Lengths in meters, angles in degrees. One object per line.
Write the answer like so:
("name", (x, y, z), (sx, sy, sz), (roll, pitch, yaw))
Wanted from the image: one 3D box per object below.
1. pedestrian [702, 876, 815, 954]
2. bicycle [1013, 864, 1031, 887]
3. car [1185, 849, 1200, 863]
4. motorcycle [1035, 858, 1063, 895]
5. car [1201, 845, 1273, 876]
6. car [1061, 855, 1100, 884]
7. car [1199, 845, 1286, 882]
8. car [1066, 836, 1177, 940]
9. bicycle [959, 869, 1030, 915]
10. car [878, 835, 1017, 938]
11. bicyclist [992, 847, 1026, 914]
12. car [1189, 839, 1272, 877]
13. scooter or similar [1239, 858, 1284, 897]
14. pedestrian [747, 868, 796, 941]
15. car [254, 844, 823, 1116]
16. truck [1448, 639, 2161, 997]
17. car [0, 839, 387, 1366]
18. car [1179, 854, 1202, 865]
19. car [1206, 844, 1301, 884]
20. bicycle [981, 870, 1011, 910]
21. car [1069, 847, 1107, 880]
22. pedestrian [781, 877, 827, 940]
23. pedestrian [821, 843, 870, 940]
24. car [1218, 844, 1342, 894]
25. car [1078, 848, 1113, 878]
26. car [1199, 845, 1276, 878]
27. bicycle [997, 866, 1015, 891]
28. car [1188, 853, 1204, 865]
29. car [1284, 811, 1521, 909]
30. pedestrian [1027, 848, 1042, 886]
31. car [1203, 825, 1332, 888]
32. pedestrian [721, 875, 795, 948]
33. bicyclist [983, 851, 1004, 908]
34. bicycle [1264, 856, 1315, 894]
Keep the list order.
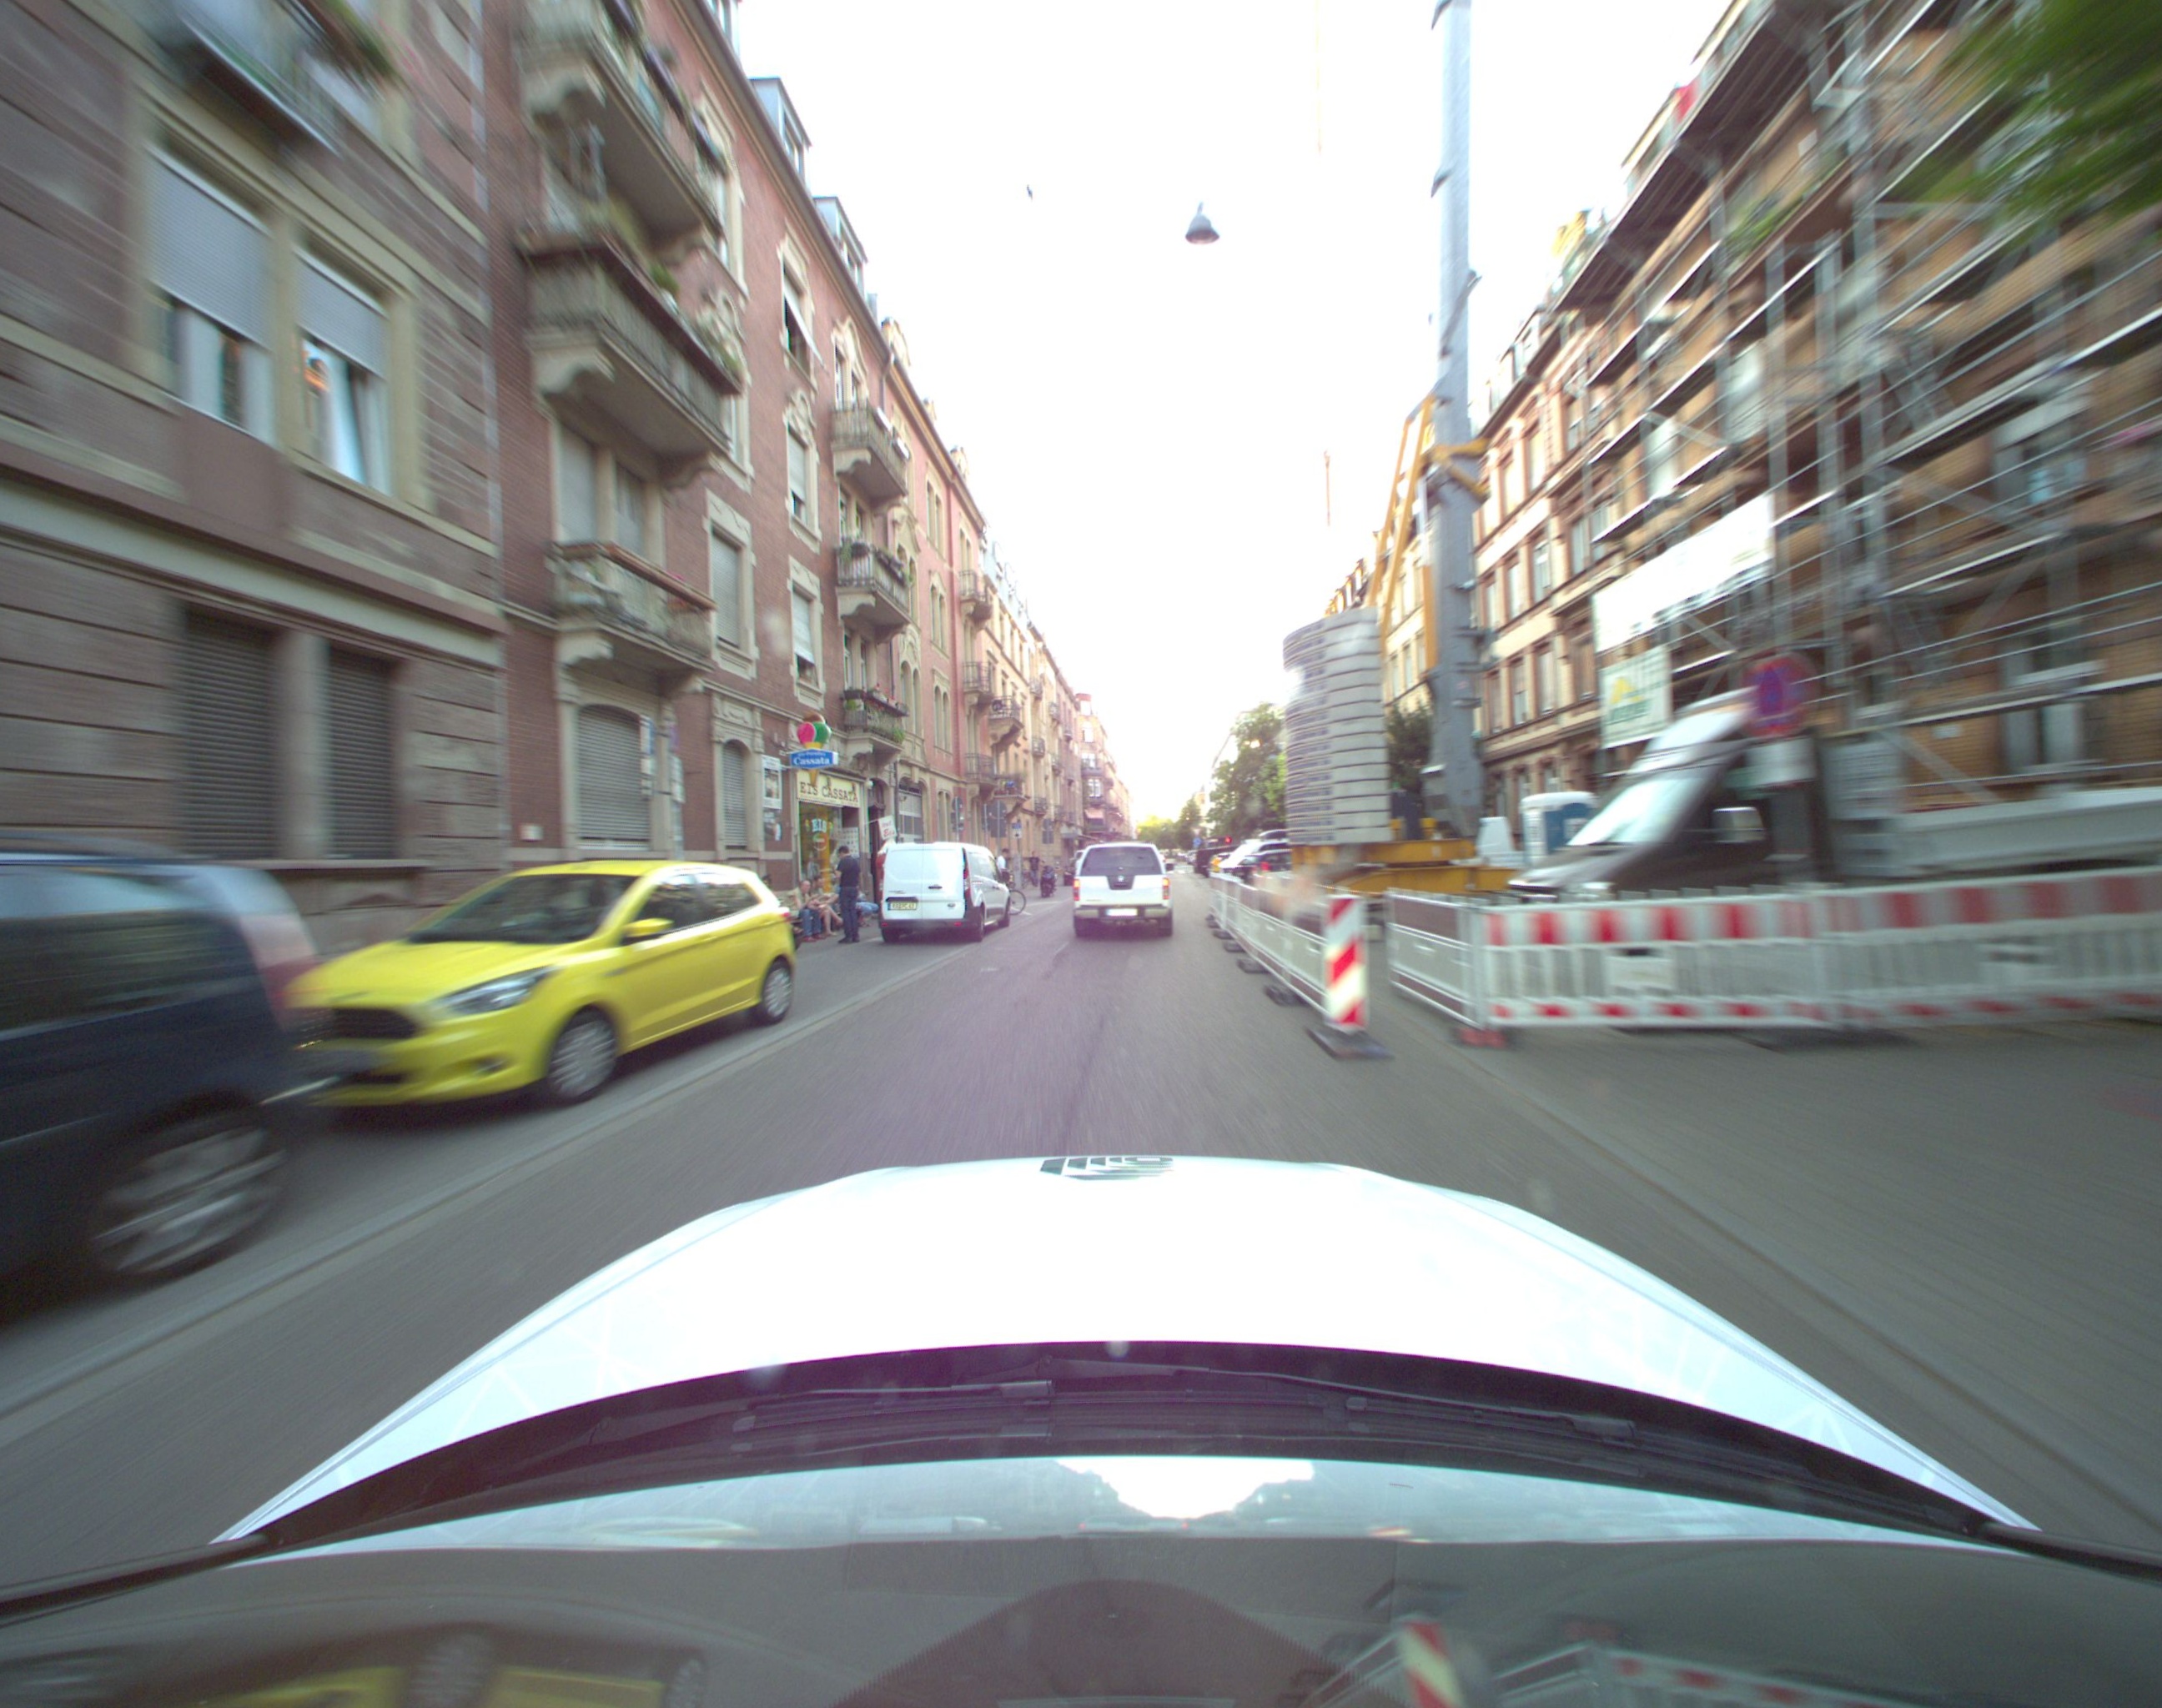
("pedestrian", (-5.196, 0.969, 13.175), (1.555, 1.203, 0.642), (-1, -1, 3))
("bicycle", (-2.955, 1.062, 40.700), (0.747, 1.101, 2.024), (-1, -1, -1))
("car", (15.894, 0.323, 115.926), (1.933, 1.934, 4.005), (-1, -1, 5))
("motorcycle", (-1.208, 0.850, 31.302), (0.681, 1.405, 2.019), (-1, -1, 8))
("car", (9.764, 0.404, 51.024), (4.118, 1.551, 1.803), (-5, 0, -26))
("car", (-0.002, 0.842, 44.876), (1.829, 1.471, 4.177), (-2, 0, 4))
("car", (8.507, 0.486, 42.816), (4.117, 1.590, 1.803), (-5, 0, -26))
("car", (0.882, 0.628, 16.849), (1.929, 1.810, 5.006), (-1, -1, 4))
("bicycle", (-2.276, 0.976, 21.360), (1.781, 1.155, 0.518), (0, -1, -16))
("car", (-2.541, 0.610, 16.658), (1.762, 1.789, 4.592), (-1, -1, 4))
("bicyclist", (-1.878, 0.686, 21.172), (0.788, 1.704, 0.526), (0, -1, -16))
("car", (10.011, 0.243, 54.360), (5.458, 2.072, 1.913), (-5, 0, -33))
("scooter or similar", (5.759, 0.738, 26.071), (0.656, 1.150, 1.475), (-4, 0, -18))
("pedestrian", (-5.440, 0.882, 14.342), (0.616, 1.251, 0.586), (-1, -1, 4))
("car", (-3.745, 0.732, 6.560), (1.696, 1.530, 3.800), (-2, 0, 7))
("truck", (7.626, -0.269, 8.504), (6.443, 3.076, 2.530), (-1, -1, 8))
("car", (-4.343, 0.781, 1.799), (1.917, 1.596, 3.977), (-2, 0, 7))
("car", (19.720, 0.999, 147.086), (3.968, 1.750, 1.843), (-1, -1, 4))
("car", (8.446, 0.482, 39.885), (4.175, 1.590, 1.870), (-5, 1, -26))
("bicycle", (-2.433, 1.015, 23.369), (0.463, 1.068, 1.524), (-1, -1, 9))
("car", (0.494, 0.582, 50.650), (1.827, 1.921, 4.854), (-2, 0, 6))
("pedestrian", (-5.193, 1.019, 15.298), (0.629, 1.140, 0.573), (-1, -1, 3))
("pedestrian", (-4.318, 0.680, 14.939), (0.612, 1.730, 0.589), (-1, -1, 34))
("car", (7.045, 0.500, 28.855), (3.869, 1.516, 1.835), (-3, 0, -21))
("car", (1.036, 0.610, 56.790), (2.100, 1.921, 5.031), (-2, 0, 4))
("car", (9.294, 0.443, 48.372), (4.118, 1.551, 1.803), (-5, 0, -26))
("bicycle", (-3.293, 1.066, 35.936), (0.445, 1.030, 1.744), (-1, -1, 7))
("car", (15.152, 0.674, 107.159), (1.826, 1.542, 4.005), (-1, -1, 5))
("car", (7.955, 0.140, 20.571), (5.149, 1.955, 1.902), (-4, 0, 4))
("pedestrian", (-2.269, 0.648, 39.973), (0.679, 1.810, 0.961), (-1, -1, 0))
("car", (7.867, 0.102, 34.369), (4.941, 2.362, 1.986), (-3, 0, -21))
("pedestrian", (-5.461, 0.966, 13.779), (1.034, 1.203, 0.504), (-1, -1, 3))
("bicyclist", (-2.474, 0.725, 23.085), (0.463, 1.590, 0.488), (-1, -1, 9))
("bicycle", (6.655, 0.662, 26.088), (0.497, 1.136, 1.799), (-4, 1, -26))
